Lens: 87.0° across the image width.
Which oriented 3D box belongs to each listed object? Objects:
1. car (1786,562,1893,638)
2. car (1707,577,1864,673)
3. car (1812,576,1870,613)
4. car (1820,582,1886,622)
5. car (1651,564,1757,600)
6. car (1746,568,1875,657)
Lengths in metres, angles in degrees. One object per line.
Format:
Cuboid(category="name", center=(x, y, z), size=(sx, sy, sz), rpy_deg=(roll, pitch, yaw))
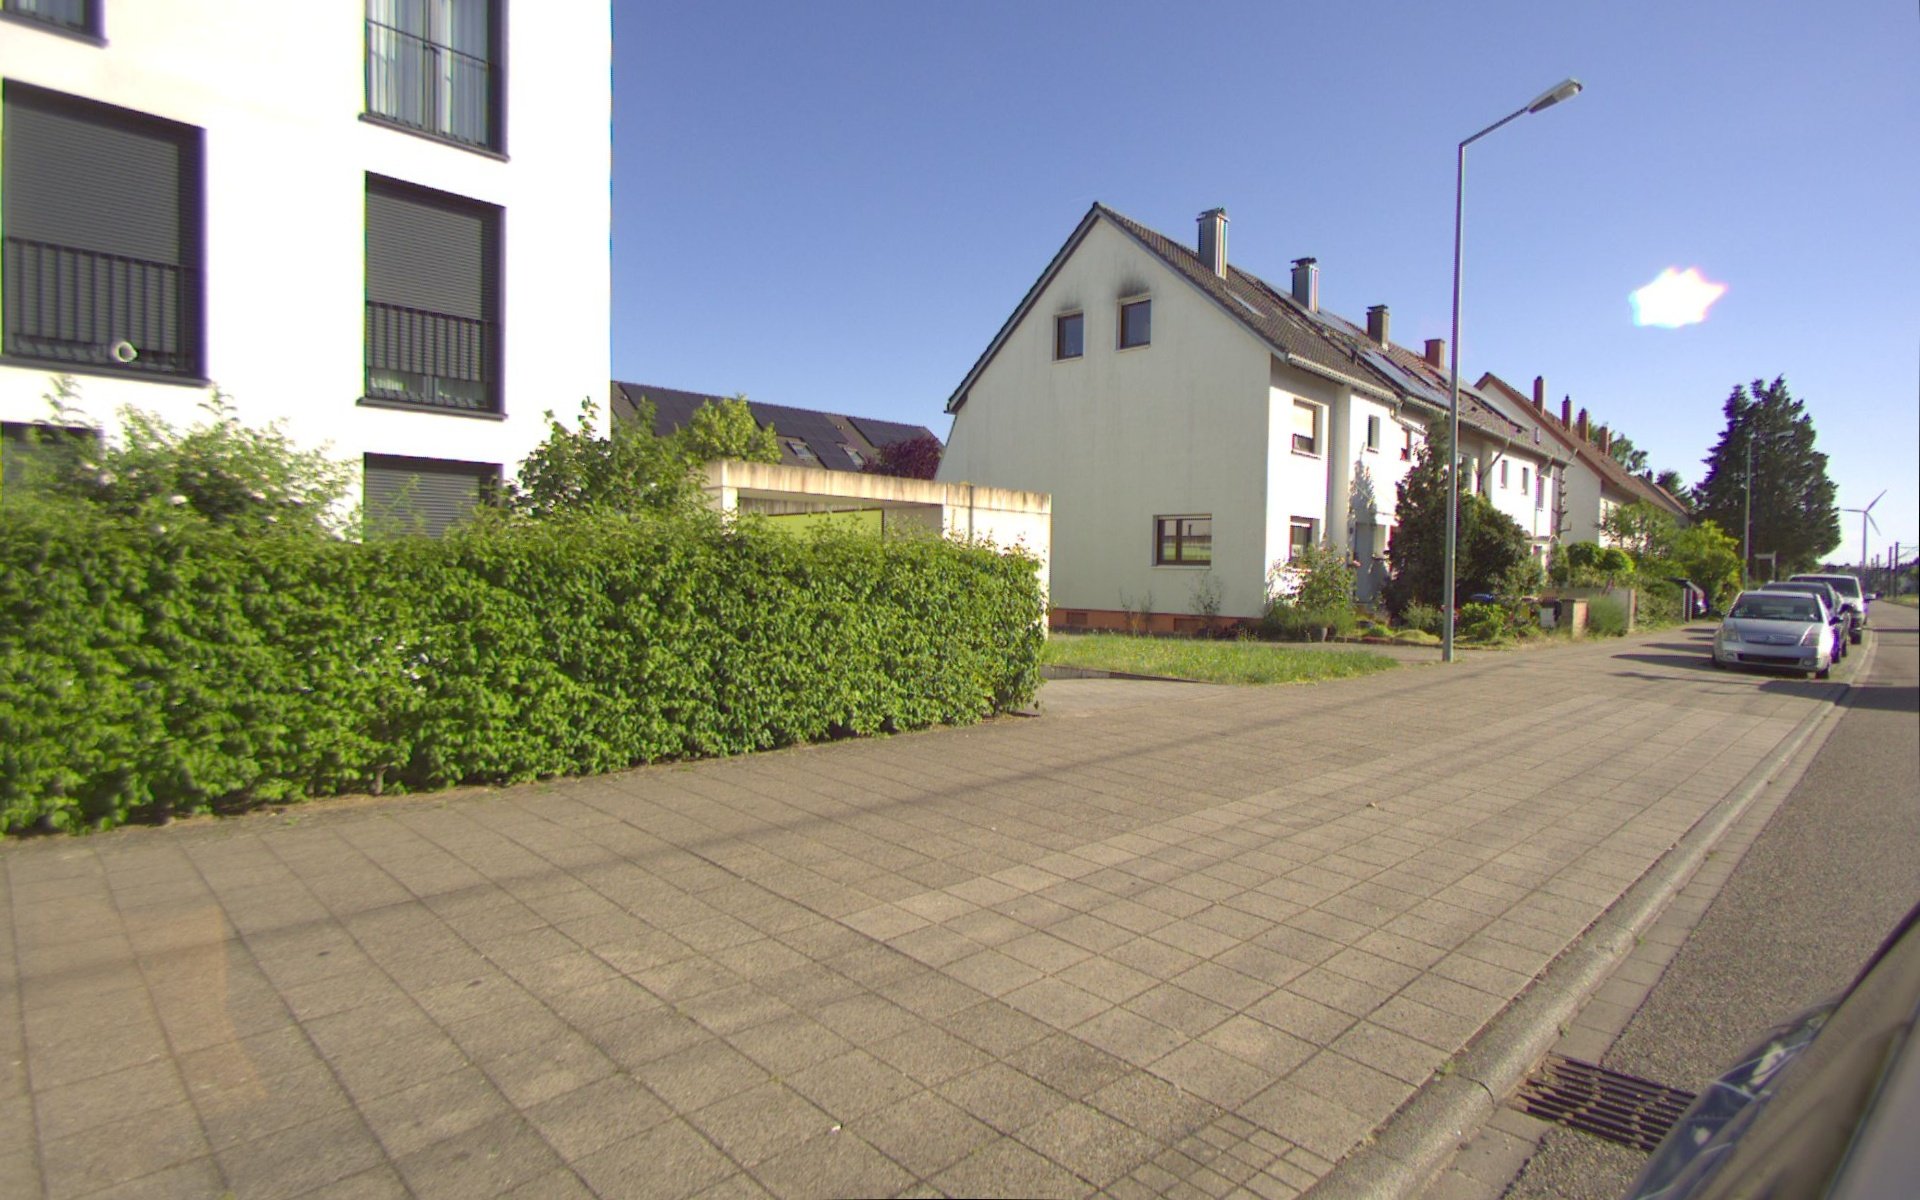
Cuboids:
Cuboid(category="car", center=(25.431, -0.049, 29.217), size=(3.947, 1.986, 1.891), rpy_deg=(-1, 4, -44))
Cuboid(category="car", center=(15.127, 0.373, 18.484), size=(3.947, 1.492, 1.698), rpy_deg=(-1, 4, -44))
Cuboid(category="car", center=(42.546, -0.281, 48.858), size=(3.947, 1.633, 1.698), rpy_deg=(-1, 4, -44))
Cuboid(category="car", center=(37.475, 0.042, 42.447), size=(3.947, 1.492, 1.698), rpy_deg=(-1, 4, -44))
Cuboid(category="car", center=(37.475, -0.884, 51.014), size=(1.965, 1.705, 3.994), rpy_deg=(-1, 0, -41))
Cuboid(category="car", center=(18.889, 0.212, 22.423), size=(3.947, 1.723, 1.698), rpy_deg=(-1, 4, -44))
